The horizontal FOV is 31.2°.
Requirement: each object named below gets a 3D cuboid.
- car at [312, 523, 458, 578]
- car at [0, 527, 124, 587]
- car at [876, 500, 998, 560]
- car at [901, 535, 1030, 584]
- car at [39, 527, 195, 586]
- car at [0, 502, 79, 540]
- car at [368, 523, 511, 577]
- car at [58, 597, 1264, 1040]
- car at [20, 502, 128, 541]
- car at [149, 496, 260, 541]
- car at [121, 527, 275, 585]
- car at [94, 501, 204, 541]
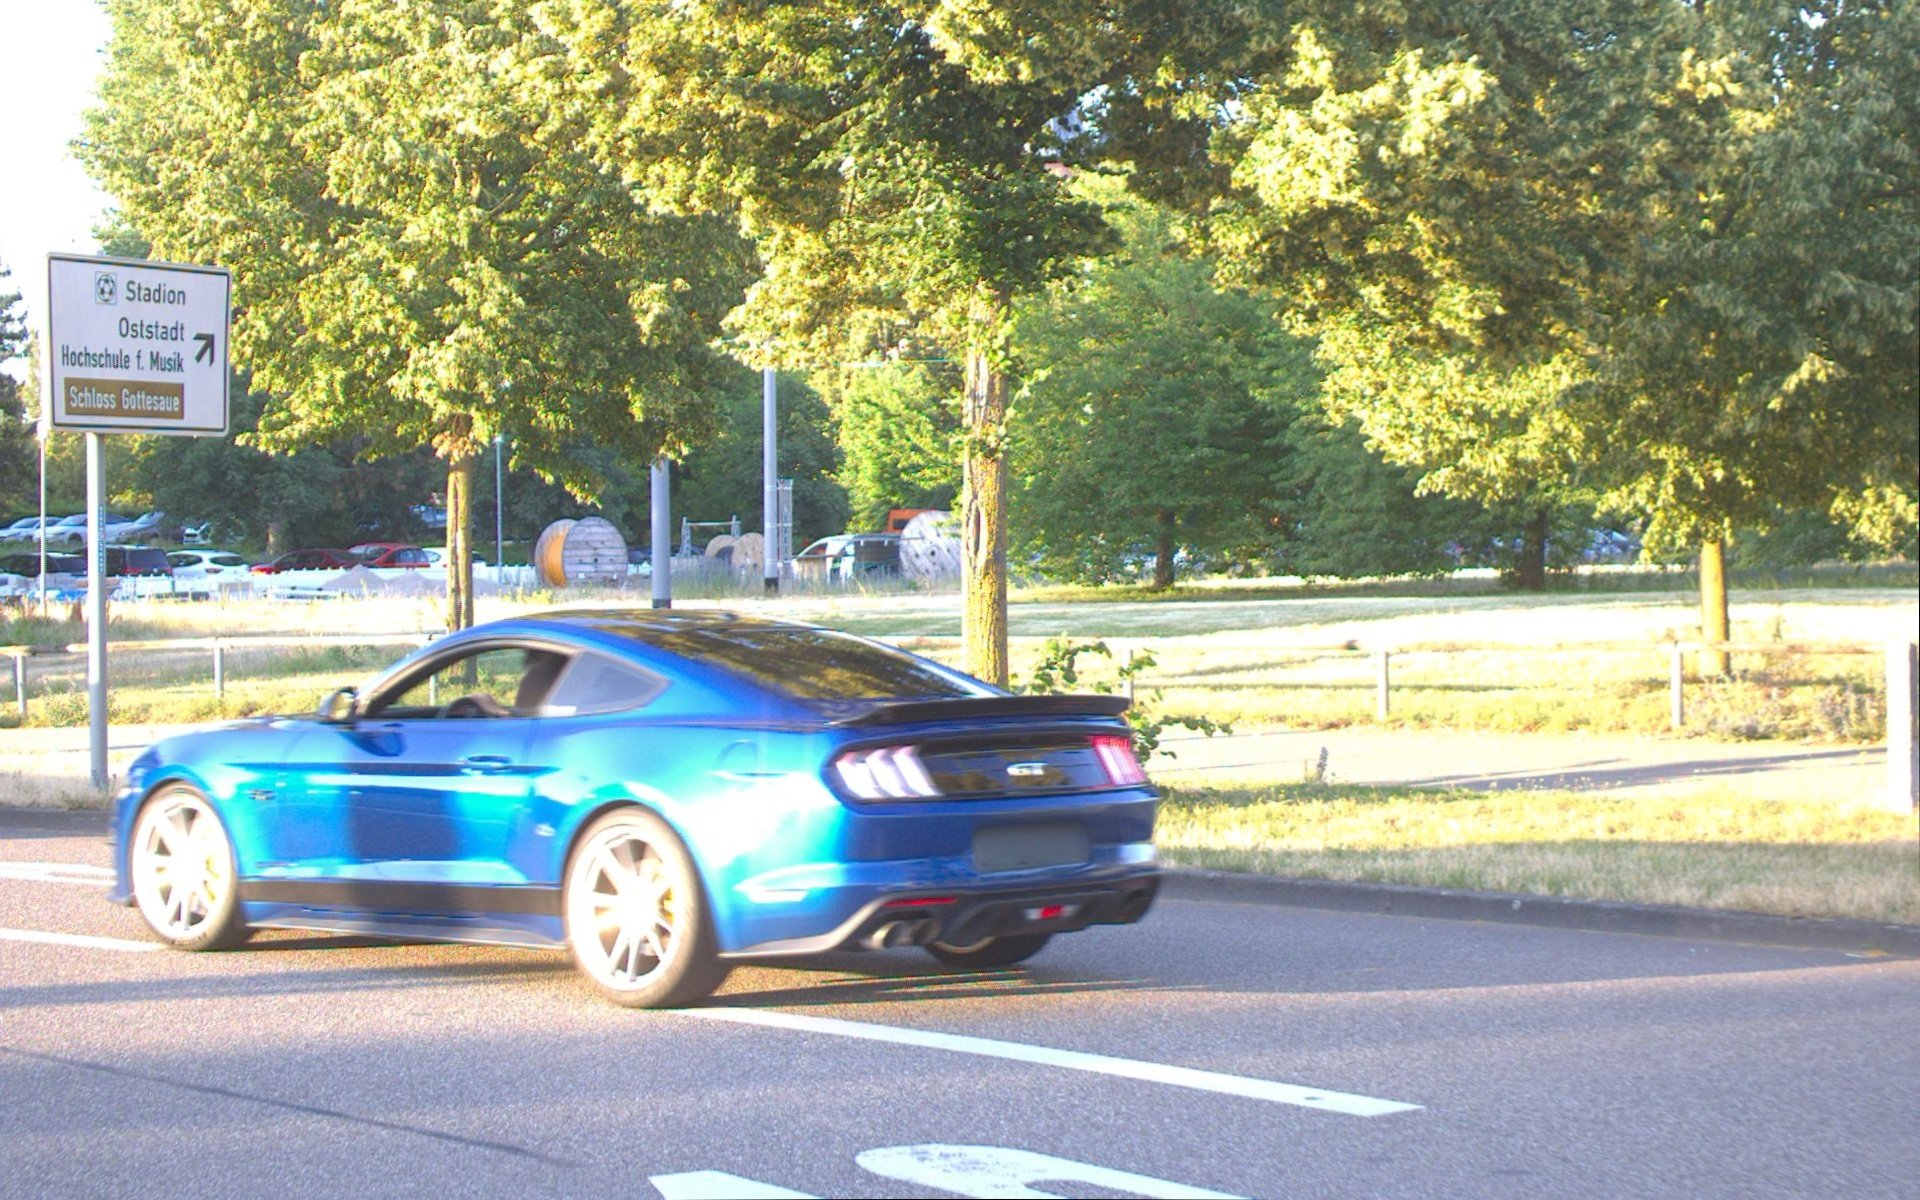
[{"bbox_3d":[-17.028,-1.470,101.744,3.994,1.548,1.900,0,1,33],"label":"car"},{"bbox_3d":[-24.457,-1.138,91.776,3.994,1.548,1.900,0,1,33],"label":"car"},{"bbox_3d":[-0.831,-2.522,123.532,3.994,2.088,1.900,0,1,33],"label":"car"},{"bbox_3d":[0.166,-1.245,105.679,3.606,1.477,1.708,1,1,30],"label":"car"},{"bbox_3d":[-22.995,-1.178,93.767,3.994,1.548,1.900,0,1,33],"label":"car"},{"bbox_3d":[-39.011,-3.297,143.508,1.901,1.548,3.992,0,1,37],"label":"car"},{"bbox_3d":[-15.724,-1.505,103.841,3.994,1.548,1.900,0,1,33],"label":"car"},{"bbox_3d":[-1.291,0.677,13.004,4.667,1.337,1.952,1,1,44],"label":"car"},{"bbox_3d":[-36.377,-3.213,141.221,1.901,1.548,3.992,0,1,37],"label":"car"},{"bbox_3d":[-30.070,-3.228,136.946,1.998,1.738,3.992,1,1,36],"label":"car"},{"bbox_3d":[-21.284,-1.227,95.983,3.994,1.548,1.900,0,1,33],"label":"car"},{"bbox_3d":[-32.667,-3.180,138.579,1.901,1.548,3.992,0,1,37],"label":"car"}]
